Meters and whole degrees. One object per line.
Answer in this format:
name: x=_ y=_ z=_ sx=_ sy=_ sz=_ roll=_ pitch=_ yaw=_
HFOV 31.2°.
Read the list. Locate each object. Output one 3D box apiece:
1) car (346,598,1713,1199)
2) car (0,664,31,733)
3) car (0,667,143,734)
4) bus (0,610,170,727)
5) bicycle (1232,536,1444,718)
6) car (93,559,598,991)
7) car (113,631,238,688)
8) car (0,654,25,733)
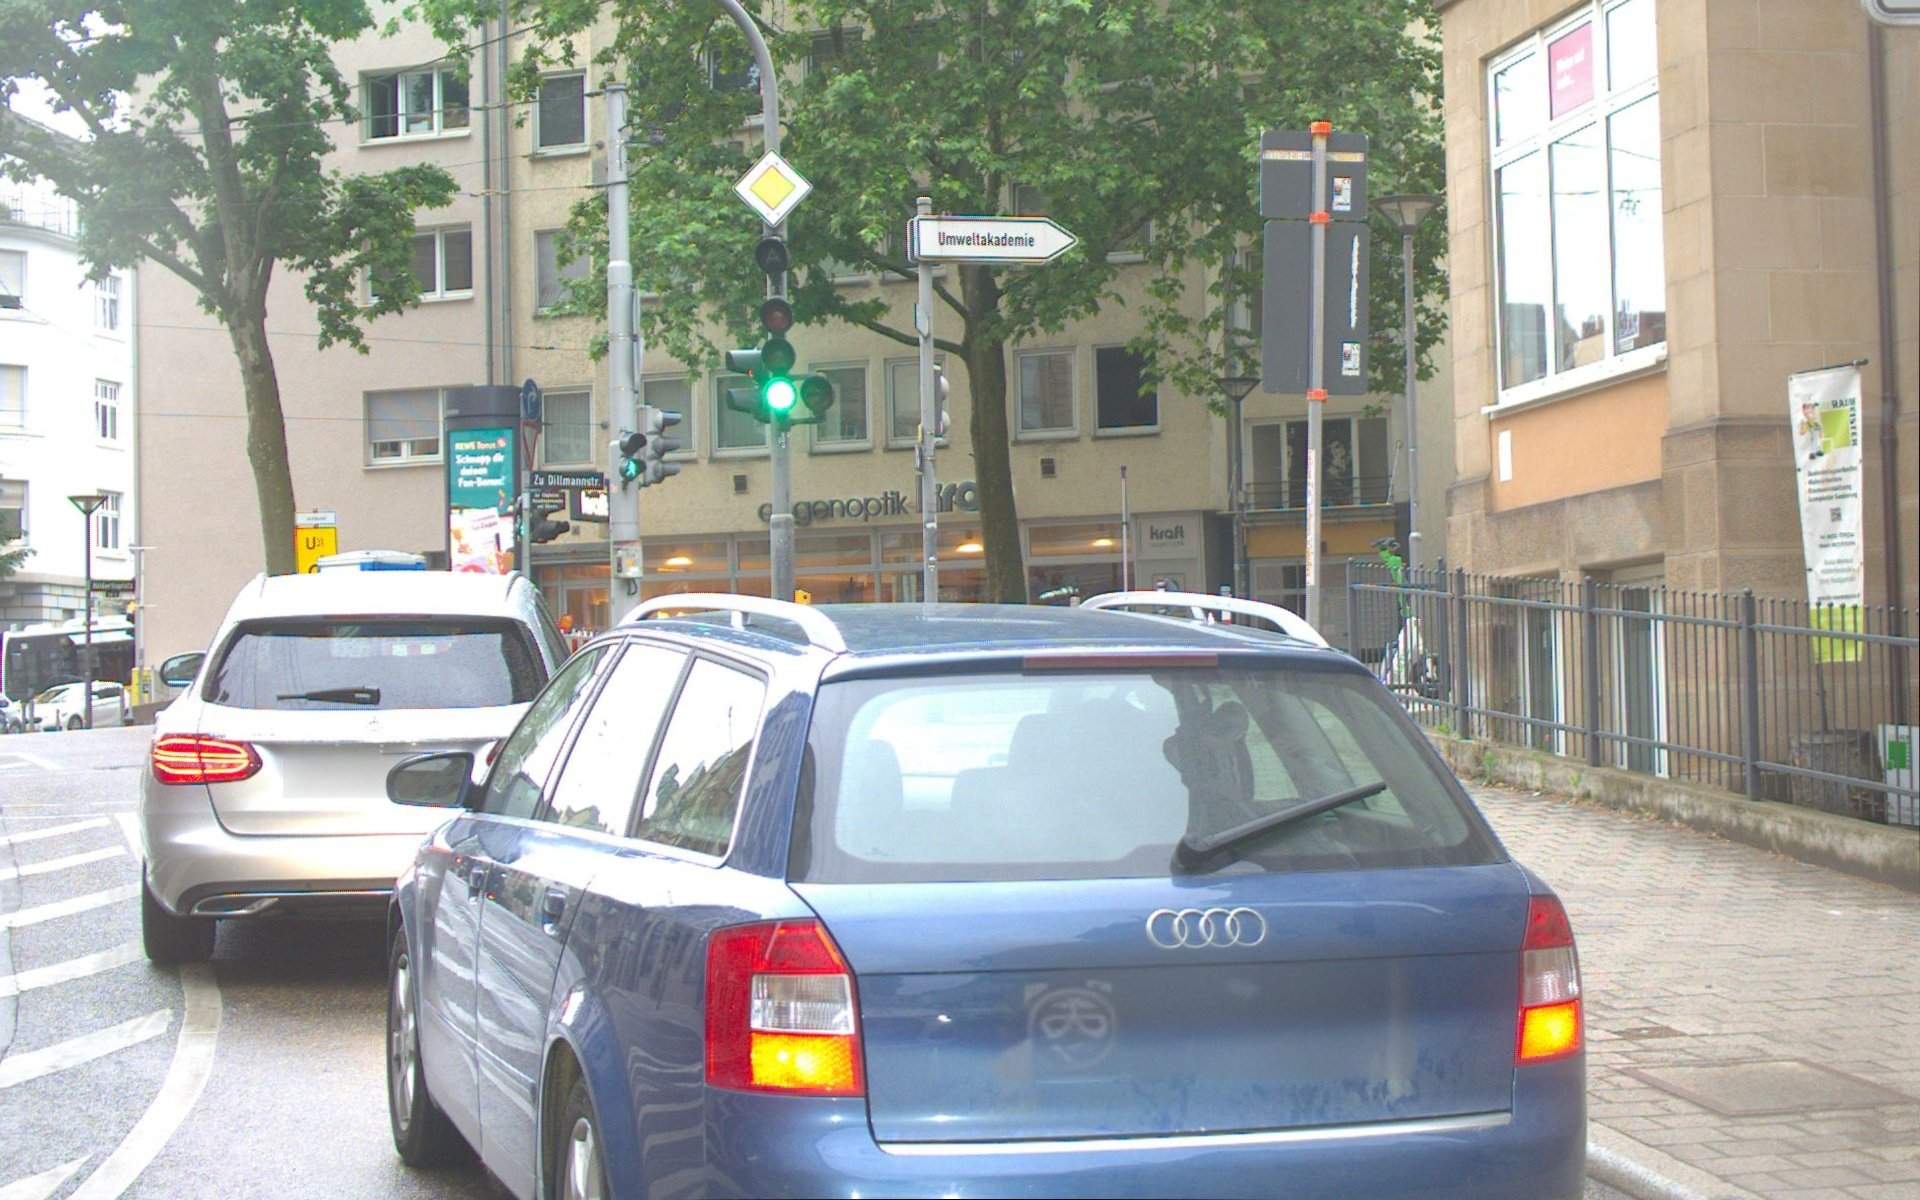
car: x=-0.192 y=0.737 z=7.204 sx=1.710 sy=1.410 sz=4.037 roll=0 pitch=1 yaw=-17
car: x=-24.341 y=2.444 z=82.966 sx=1.796 sy=1.609 sz=3.997 roll=-1 pitch=1 yaw=17
car: x=-22.840 y=2.572 z=88.315 sx=1.796 sy=1.505 sz=3.997 roll=-1 pitch=1 yaw=17
bus: x=-25.103 y=1.833 z=94.583 sx=2.856 sy=2.851 sz=8.728 roll=-1 pitch=1 yaw=14
bicycle: x=2.612 y=0.180 z=23.766 sx=1.300 sy=1.169 sz=0.526 roll=-3 pitch=1 yaw=-12
car: x=-2.343 y=0.573 z=13.583 sx=1.710 sy=1.451 sz=3.554 roll=0 pitch=1 yaw=-8
car: x=-23.181 y=1.739 z=101.687 sx=1.796 sy=1.505 sz=3.997 roll=-1 pitch=1 yaw=17
car: x=-19.923 y=1.940 z=67.961 sx=1.794 sy=1.505 sz=4.000 roll=-4 pitch=1 yaw=-1
